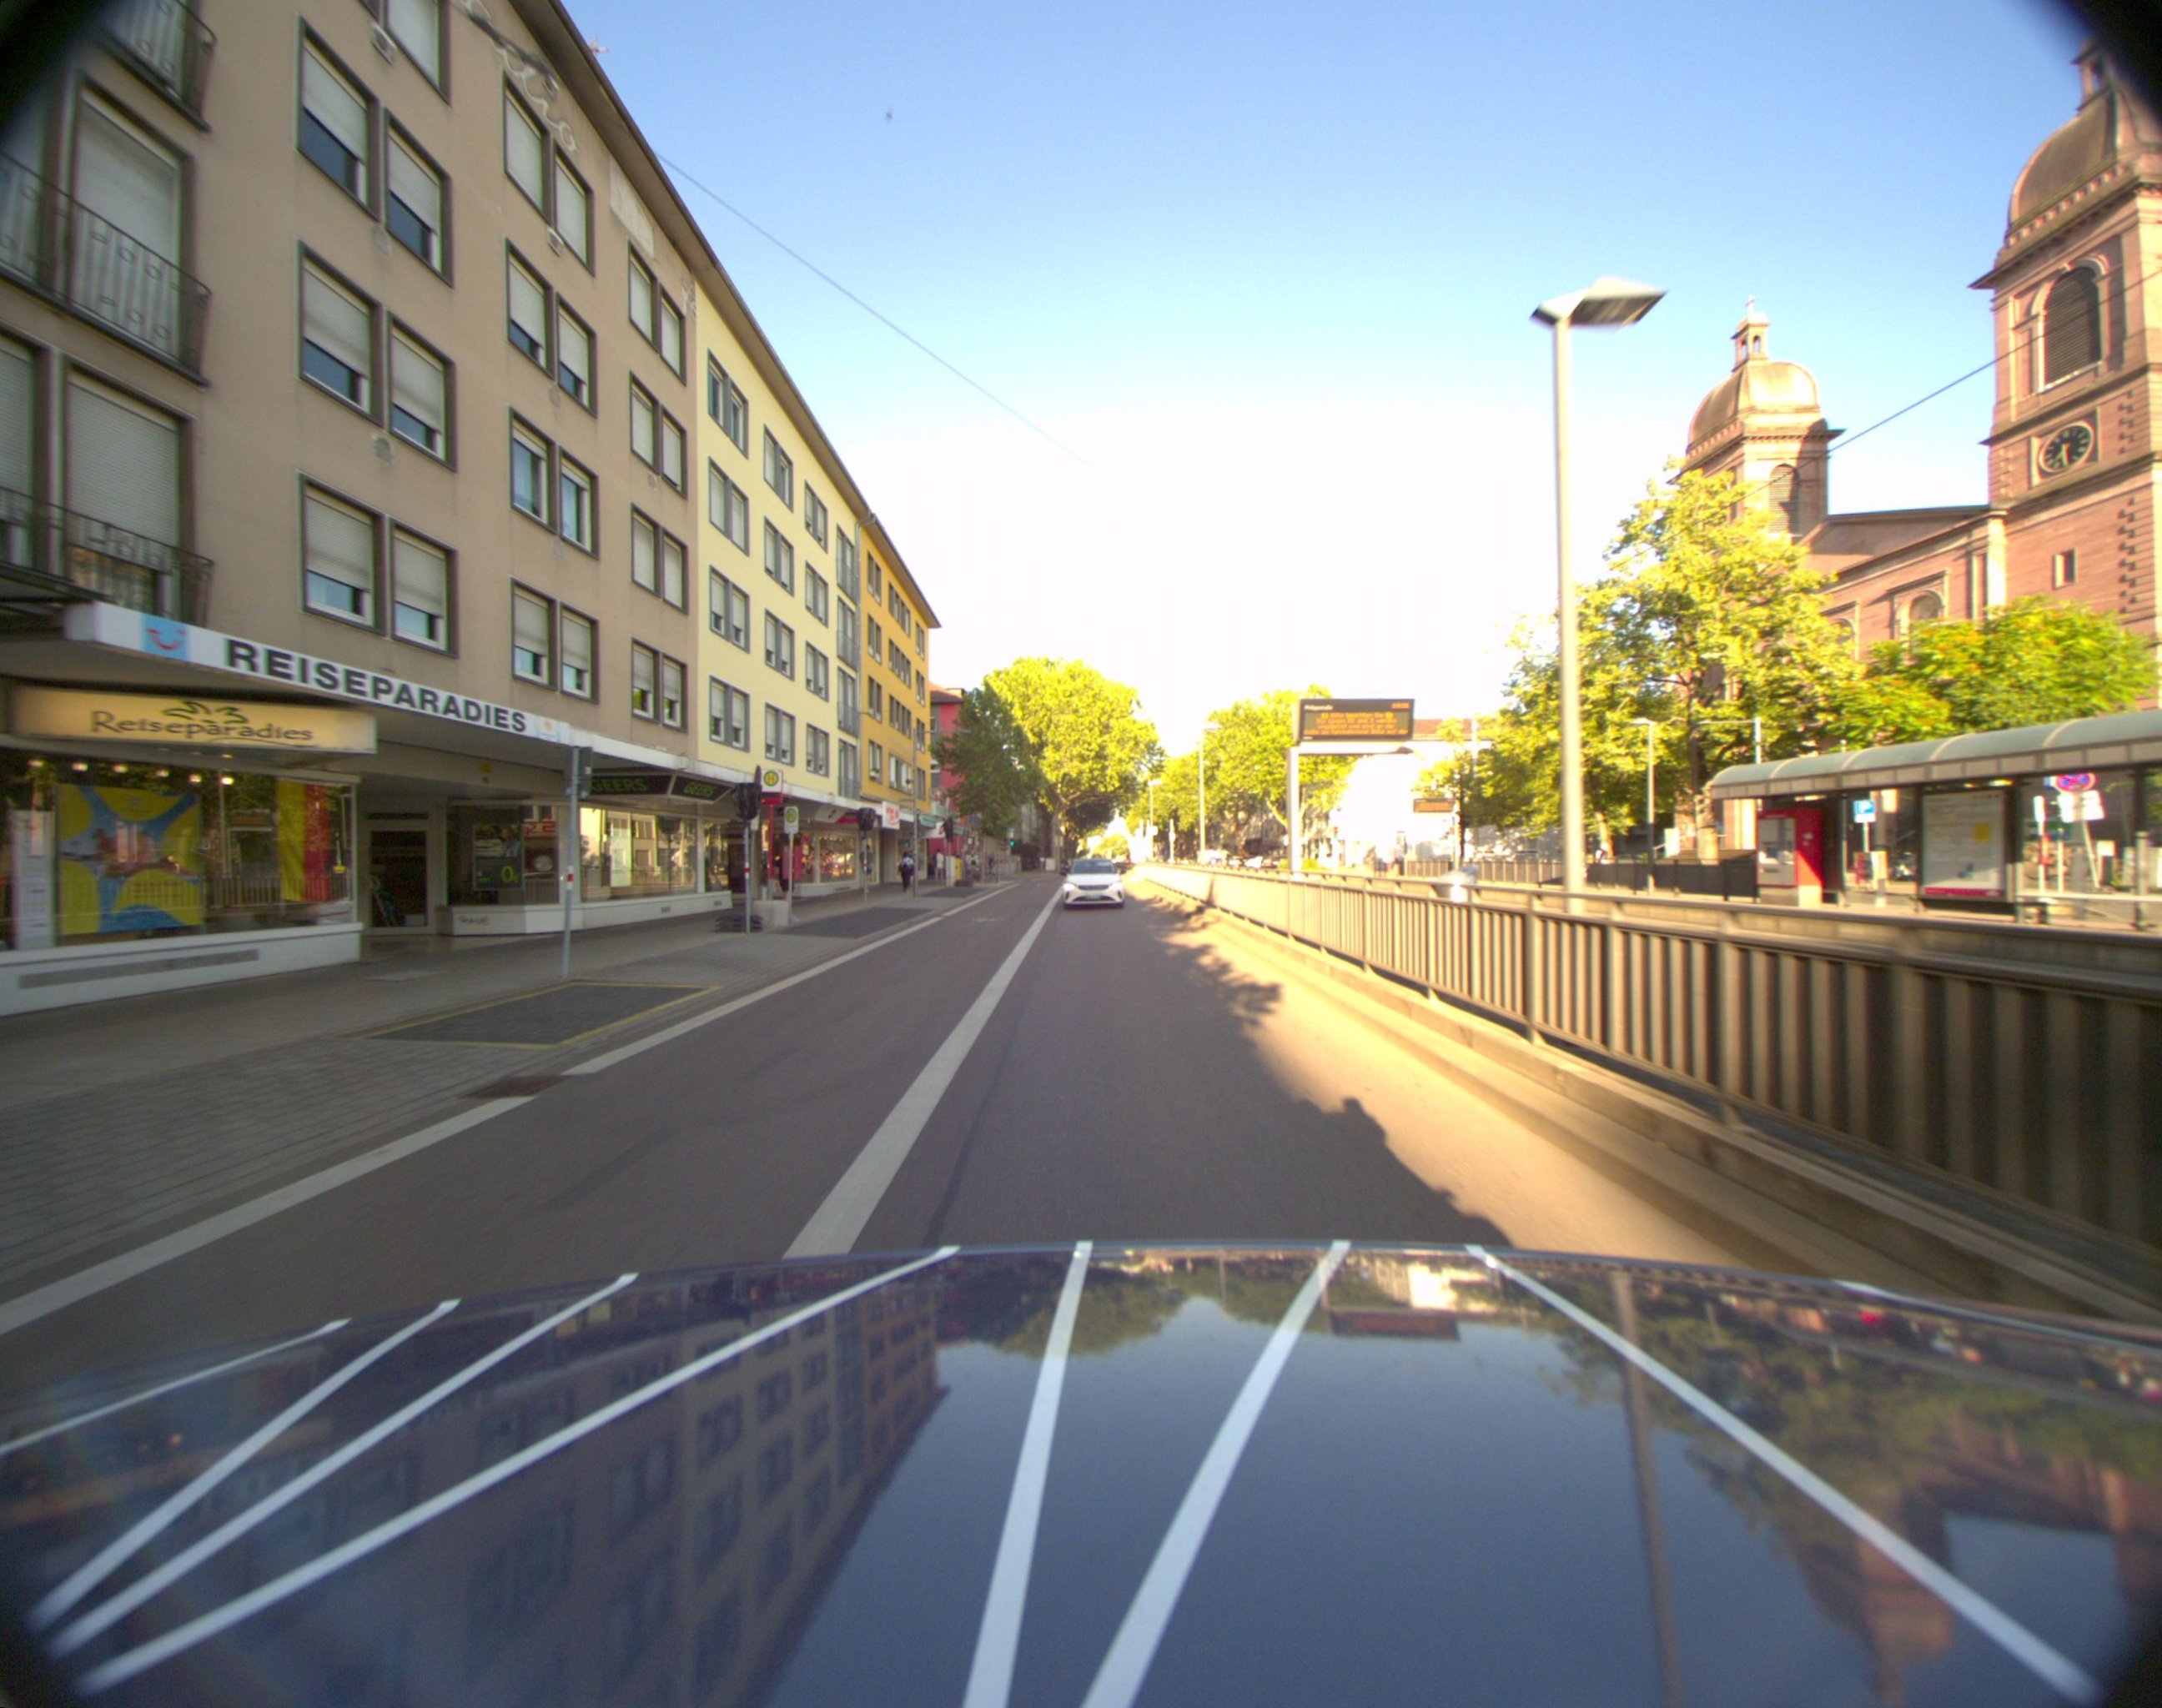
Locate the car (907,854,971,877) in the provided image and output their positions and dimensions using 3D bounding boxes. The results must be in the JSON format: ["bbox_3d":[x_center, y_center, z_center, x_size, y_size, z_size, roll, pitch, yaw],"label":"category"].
[{"bbox_3d":[-10.539,0.854,56.519,4.352,1.677,1.772,0,1,0],"label":"car"}]

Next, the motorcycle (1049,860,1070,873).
[{"bbox_3d":[-1.968,1.159,70.818,1.895,1.104,0.783,3,-2,-42],"label":"motorcycle"}]

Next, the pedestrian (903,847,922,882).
[{"bbox_3d":[-8.193,0.499,36.902,0.725,1.713,0.766,0,1,1],"label":"pedestrian"}]

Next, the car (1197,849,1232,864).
[{"bbox_3d":[23.190,0.427,132.036,5.619,2.684,2.176,0,0,-24],"label":"car"}]

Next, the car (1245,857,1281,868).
[{"bbox_3d":[22.211,1.026,92.872,4.266,1.369,2.147,0,0,-40],"label":"car"}]

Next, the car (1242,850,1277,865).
[{"bbox_3d":[23.322,0.399,99.420,4.260,1.932,1.515,0,0,-15],"label":"car"}]

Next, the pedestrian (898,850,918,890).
[{"bbox_3d":[-6.964,0.636,30.621,0.612,1.569,0.851,0,1,-2],"label":"pedestrian"}]

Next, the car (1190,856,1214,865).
[{"bbox_3d":[22.953,1.253,144.144,4.005,1.805,1.996,0,0,-26],"label":"car"}]

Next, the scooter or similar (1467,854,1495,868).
[{"bbox_3d":[33.425,0.572,63.575,1.096,1.119,2.448,0,0,1],"label":"scooter or similar"}]

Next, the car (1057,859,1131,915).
[{"bbox_3d":[0.343,0.863,21.654,1.865,1.394,3.932,-1,0,0],"label":"car"}]

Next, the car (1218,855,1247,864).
[{"bbox_3d":[23.036,0.837,115.339,4.265,1.449,1.902,0,0,-35],"label":"car"}]

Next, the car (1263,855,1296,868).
[{"bbox_3d":[22.685,0.832,86.852,3.979,1.423,1.738,0,-1,-42],"label":"car"}]

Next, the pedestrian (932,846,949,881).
[{"bbox_3d":[-7.158,0.491,38.675,0.725,1.769,0.766,0,1,1],"label":"pedestrian"}]

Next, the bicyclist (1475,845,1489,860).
[{"bbox_3d":[37.123,-0.153,70.319,0.968,1.323,0.633,0,0,1],"label":"bicyclist"}]

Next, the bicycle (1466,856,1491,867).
[{"bbox_3d":[36.773,0.703,70.317,1.987,0.974,0.633,0,0,1],"label":"bicycle"}]

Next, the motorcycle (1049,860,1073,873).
[{"bbox_3d":[-1.911,1.200,72.950,2.217,1.104,0.663,2,-1,-26],"label":"motorcycle"}]

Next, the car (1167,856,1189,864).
[{"bbox_3d":[20.270,1.321,158.433,4.005,1.696,1.996,0,0,-26],"label":"car"}]

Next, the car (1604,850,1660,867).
[{"bbox_3d":[46.252,0.413,63.895,1.815,1.389,4.001,0,-1,1],"label":"car"}]

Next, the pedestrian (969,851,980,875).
[{"bbox_3d":[-7.977,0.696,56.918,0.745,1.770,0.894,0,1,1],"label":"pedestrian"}]

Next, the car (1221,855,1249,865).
[{"bbox_3d":[22.767,0.880,112.064,4.265,1.451,1.598,0,0,-35],"label":"car"}]

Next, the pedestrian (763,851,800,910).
[{"bbox_3d":[-8.332,0.732,21.174,0.725,1.623,0.766,0,1,1],"label":"pedestrian"}]

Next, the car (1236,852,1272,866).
[{"bbox_3d":[21.911,0.598,96.153,4.265,1.674,2.147,0,0,-34],"label":"car"}]

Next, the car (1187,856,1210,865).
[{"bbox_3d":[22.809,1.270,147.419,4.005,1.805,1.996,0,0,-26],"label":"car"}]

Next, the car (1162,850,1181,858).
[{"bbox_3d":[24.230,0.017,203.267,4.952,2.200,2.096,0,0,-41],"label":"car"}]

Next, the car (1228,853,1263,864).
[{"bbox_3d":[21.821,0.594,101.031,4.260,1.548,1.641,0,0,-15],"label":"car"}]

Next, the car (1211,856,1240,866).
[{"bbox_3d":[22.751,1.136,119.540,4.004,1.509,1.997,0,0,-19],"label":"car"}]

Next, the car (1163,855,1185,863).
[{"bbox_3d":[19.400,1.013,158.359,4.234,1.696,1.999,0,0,-3],"label":"car"}]

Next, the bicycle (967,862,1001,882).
[{"bbox_3d":[-5.253,0.958,41.217,1.803,1.002,0.541,2,0,-2],"label":"bicycle"}]

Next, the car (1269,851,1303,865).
[{"bbox_3d":[22.530,0.449,83.558,3.979,1.423,1.767,0,0,-42],"label":"car"}]

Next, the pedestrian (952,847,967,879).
[{"bbox_3d":[-6.975,0.507,43.564,0.725,1.796,0.766,0,1,1],"label":"pedestrian"}]

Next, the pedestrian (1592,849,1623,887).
[{"bbox_3d":[25.521,0.668,36.825,0.921,1.750,0.832,-1,3,2],"label":"pedestrian"}]

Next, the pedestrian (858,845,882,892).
[{"bbox_3d":[-8.327,0.569,29.987,0.725,1.829,0.766,0,1,1],"label":"pedestrian"}]

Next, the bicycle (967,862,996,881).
[{"bbox_3d":[-5.291,0.920,40.550,1.487,1.002,0.454,-1,1,-2],"label":"bicycle"}]

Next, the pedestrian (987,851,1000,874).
[{"bbox_3d":[-6.417,0.617,55.776,0.728,1.701,0.816,2,1,1],"label":"pedestrian"}]

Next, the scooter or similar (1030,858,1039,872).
[{"bbox_3d":[-4.671,1.089,76.878,0.666,1.461,2.545,0,0,1],"label":"scooter or similar"}]

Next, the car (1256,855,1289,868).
[{"bbox_3d":[22.752,0.876,90.255,3.979,1.495,1.827,0,0,-42],"label":"car"}]
